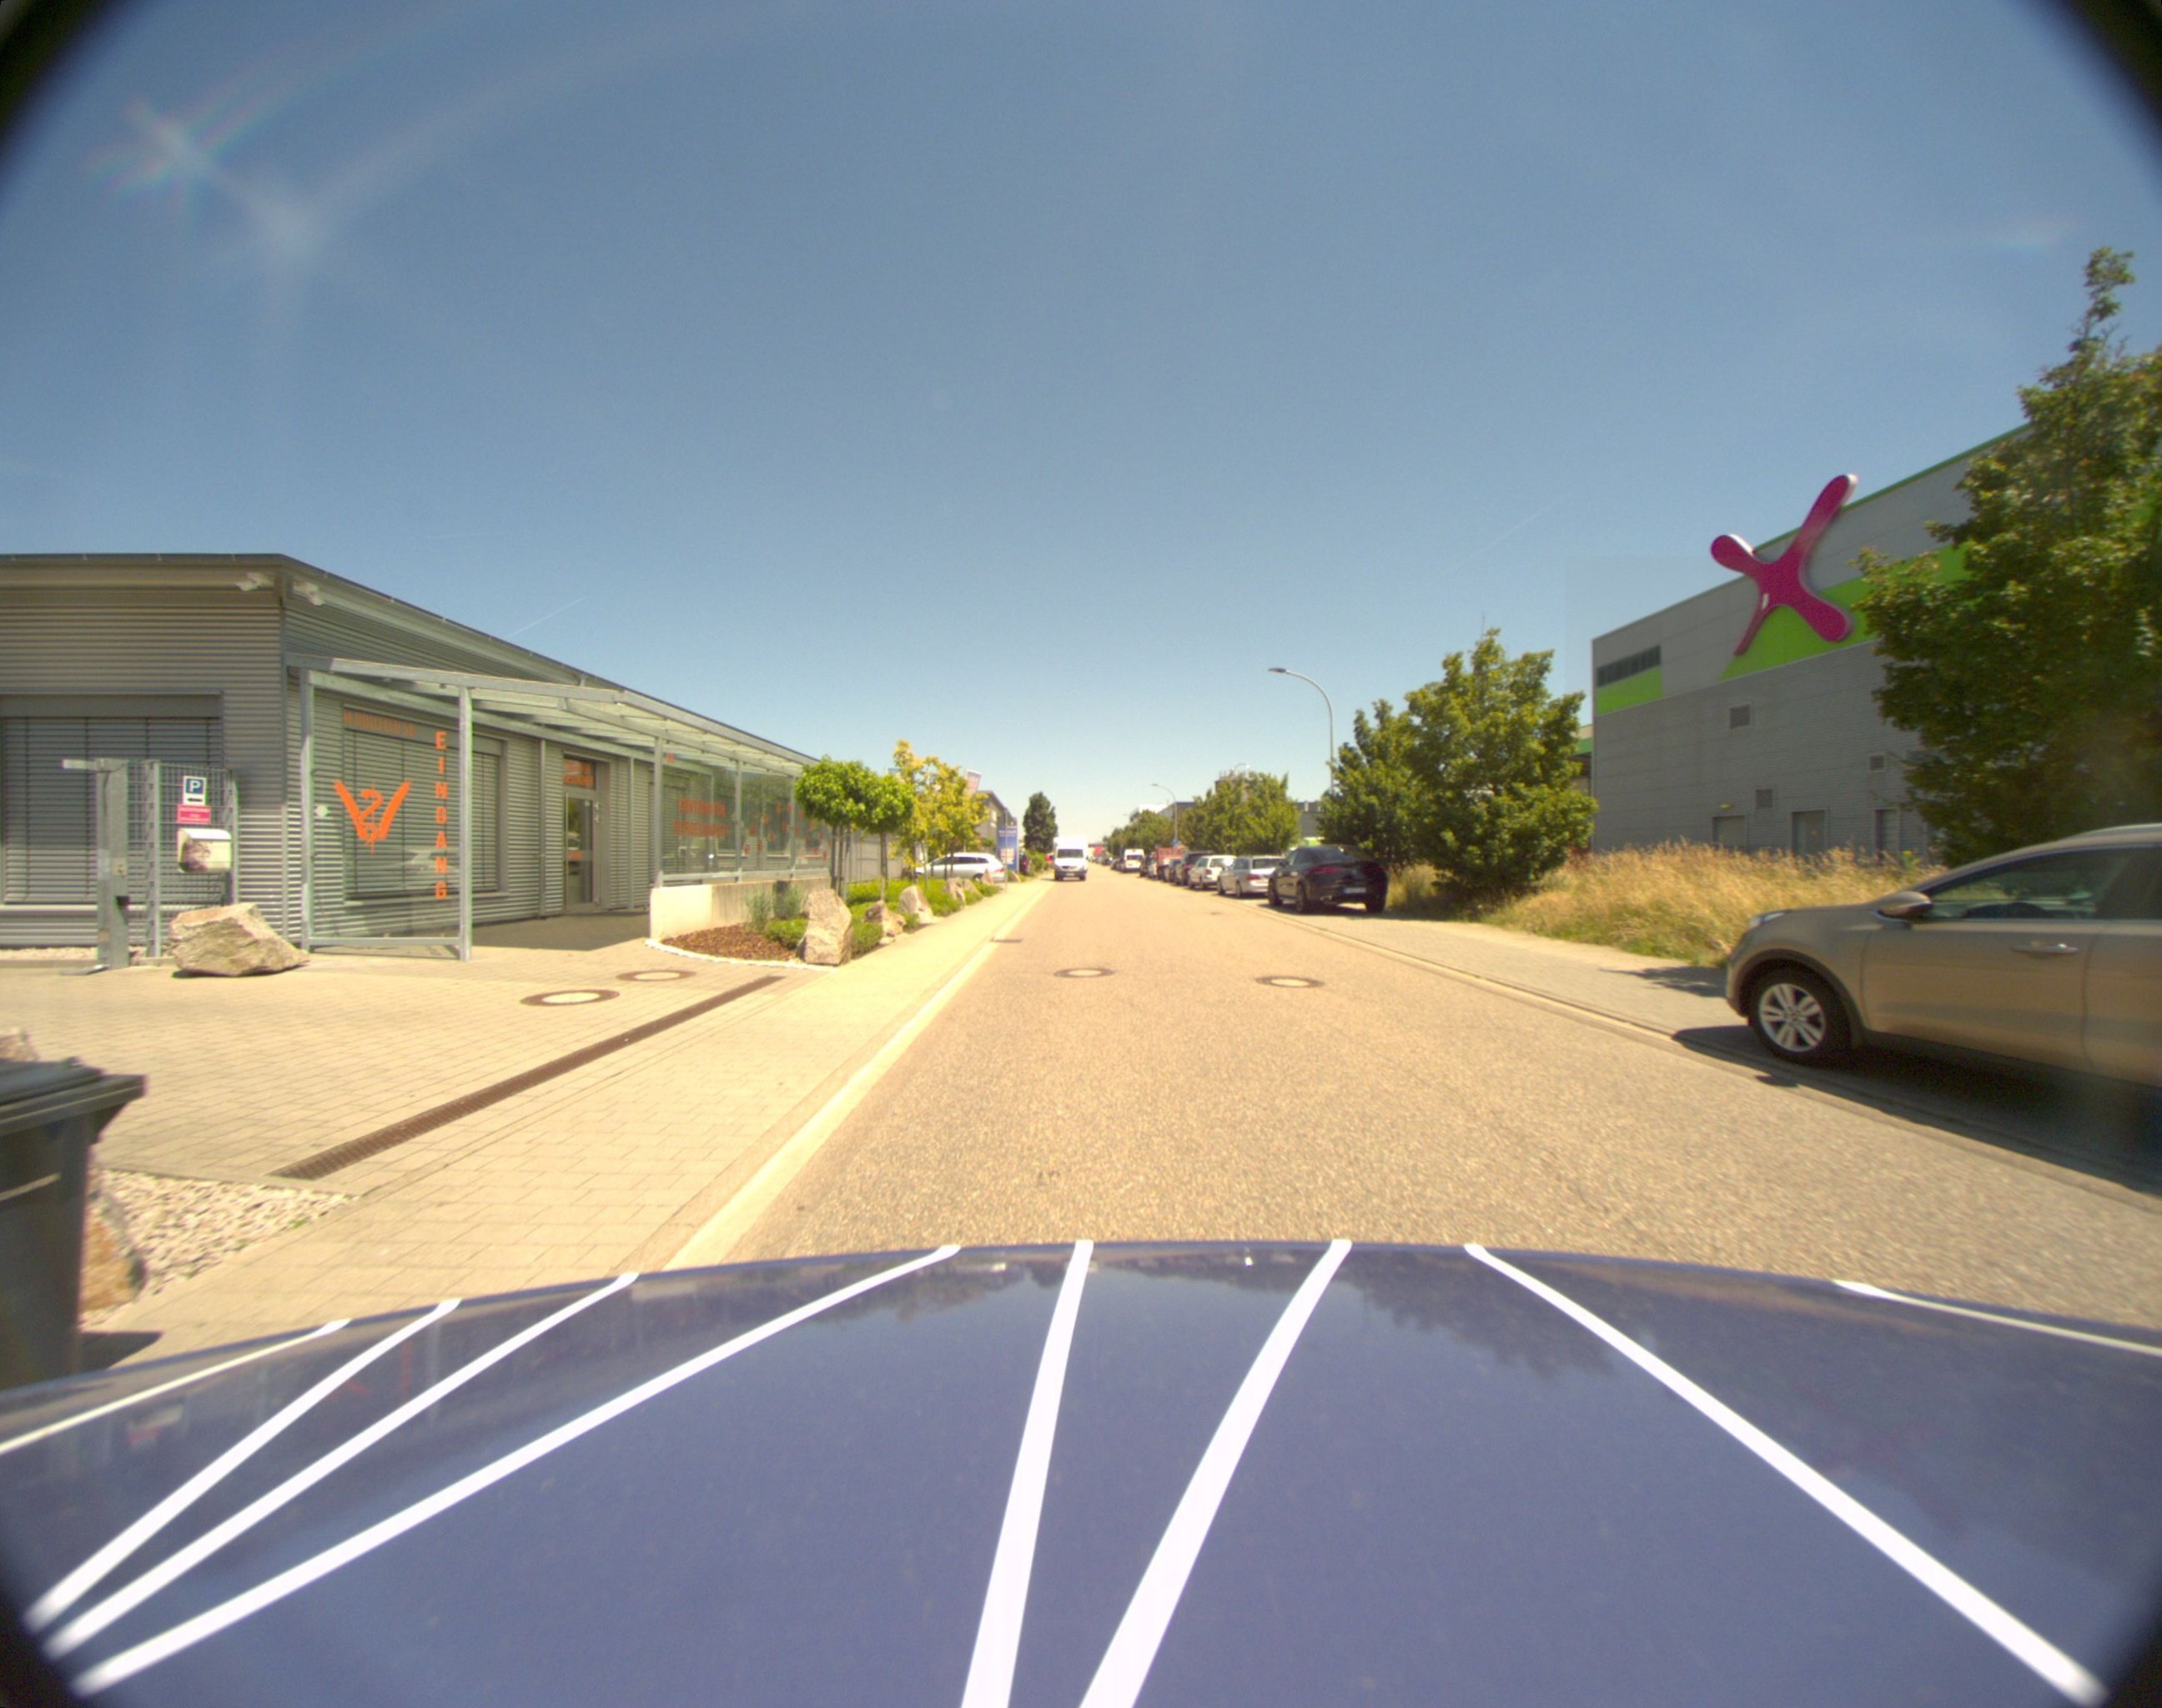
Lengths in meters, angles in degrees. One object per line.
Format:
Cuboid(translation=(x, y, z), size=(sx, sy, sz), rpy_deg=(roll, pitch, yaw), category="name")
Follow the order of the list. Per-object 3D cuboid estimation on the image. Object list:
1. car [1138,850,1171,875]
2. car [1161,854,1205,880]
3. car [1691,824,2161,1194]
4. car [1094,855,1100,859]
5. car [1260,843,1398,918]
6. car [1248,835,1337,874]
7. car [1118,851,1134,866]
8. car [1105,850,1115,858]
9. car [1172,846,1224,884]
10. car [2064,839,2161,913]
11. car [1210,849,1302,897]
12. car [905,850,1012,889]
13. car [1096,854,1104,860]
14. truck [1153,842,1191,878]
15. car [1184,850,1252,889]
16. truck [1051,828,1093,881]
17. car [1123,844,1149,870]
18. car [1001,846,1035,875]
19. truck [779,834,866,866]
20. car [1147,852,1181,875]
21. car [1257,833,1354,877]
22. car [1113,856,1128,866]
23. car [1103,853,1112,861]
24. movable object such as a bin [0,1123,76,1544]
Cuboid(translation=(5.832, 0.644, 60.866), size=(1.979, 1.889, 5.402), rpy_deg=(-2, 0, 0), category="car")
Cuboid(translation=(5.951, 0.735, 44.811), size=(1.856, 1.435, 4.753), rpy_deg=(-2, 0, 0), category="car")
Cuboid(translation=(5.898, 0.689, 3.919), size=(1.917, 1.703, 4.412), rpy_deg=(-2, 0, -1), category="car")
Cuboid(translation=(5.414, 1.097, 257.777), size=(1.799, 1.319, 3.830), rpy_deg=(-2, 0, -1), category="car")
Cuboid(translation=(6.350, 0.617, 20.153), size=(1.996, 1.703, 5.007), rpy_deg=(-2, 0, 0), category="car")
Cuboid(translation=(15.850, 0.035, 57.304), size=(5.989, 2.808, 2.521), rpy_deg=(-1, 0, -1), category="car")
Cuboid(translation=(5.820, 0.547, 98.722), size=(1.835, 1.800, 4.082), rpy_deg=(-2, 0, 1), category="car")
Cuboid(translation=(5.848, 0.003, 154.738), size=(1.799, 1.638, 3.830), rpy_deg=(1, 0, -1), category="car")
Cuboid(translation=(5.891, 0.540, 38.749), size=(1.856, 1.748, 4.987), rpy_deg=(-2, 0, 1), category="car")
Cuboid(translation=(20.547, 0.399, 13.710), size=(1.435, 1.344, 3.238), rpy_deg=(-2, 0, 0), category="car")
Cuboid(translation=(6.097, 0.630, 27.141), size=(1.856, 1.510, 5.165), rpy_deg=(-2, 0, -3), category="car")
Cuboid(translation=(-5.143, 0.654, 32.424), size=(4.291, 1.532, 1.912), rpy_deg=(1, 0, -3), category="car")
Cuboid(translation=(4.842, 0.800, 195.660), size=(1.799, 1.319, 3.830), rpy_deg=(-2, 0, -1), category="car")
Cuboid(translation=(5.936, 0.364, 50.177), size=(1.856, 2.209, 4.645), rpy_deg=(-2, 0, -1), category="truck")
Cuboid(translation=(5.891, 0.633, 33.238), size=(1.856, 1.510, 4.903), rpy_deg=(-2, 0, -3), category="car")
Cuboid(translation=(-0.503, 0.026, 49.087), size=(2.463, 3.186, 6.883), rpy_deg=(0, 0, 1), category="truck")
Cuboid(translation=(5.890, 0.293, 81.964), size=(2.328, 2.583, 6.085), rpy_deg=(-2, 0, 1), category="car")
Cuboid(translation=(-4.588, 0.441, 55.814), size=(1.998, 2.002, 5.337), rpy_deg=(0, 0, 0), category="car")
Cuboid(translation=(-19.820, -0.292, 58.414), size=(5.948, 2.356, 2.181), rpy_deg=(1, 1, 1), category="truck")
Cuboid(translation=(5.907, 0.681, 54.661), size=(1.856, 1.542, 3.766), rpy_deg=(-2, 0, -2), category="car")
Cuboid(translation=(15.662, 0.056, 53.203), size=(5.989, 2.908, 2.521), rpy_deg=(-1, 0, -1), category="car")
Cuboid(translation=(5.760, 0.985, 111.038), size=(1.799, 1.477, 4.451), rpy_deg=(-2, 0, -1), category="car")
Cuboid(translation=(5.694, 0.646, 164.917), size=(1.799, 1.701, 3.830), rpy_deg=(-2, 0, -1), category="car")
Cuboid(translation=(-2.796, 1.141, 1.628), size=(0.560, 0.941, 0.539), rpy_deg=(1, 1, -2), category="movable object such as a bin")
